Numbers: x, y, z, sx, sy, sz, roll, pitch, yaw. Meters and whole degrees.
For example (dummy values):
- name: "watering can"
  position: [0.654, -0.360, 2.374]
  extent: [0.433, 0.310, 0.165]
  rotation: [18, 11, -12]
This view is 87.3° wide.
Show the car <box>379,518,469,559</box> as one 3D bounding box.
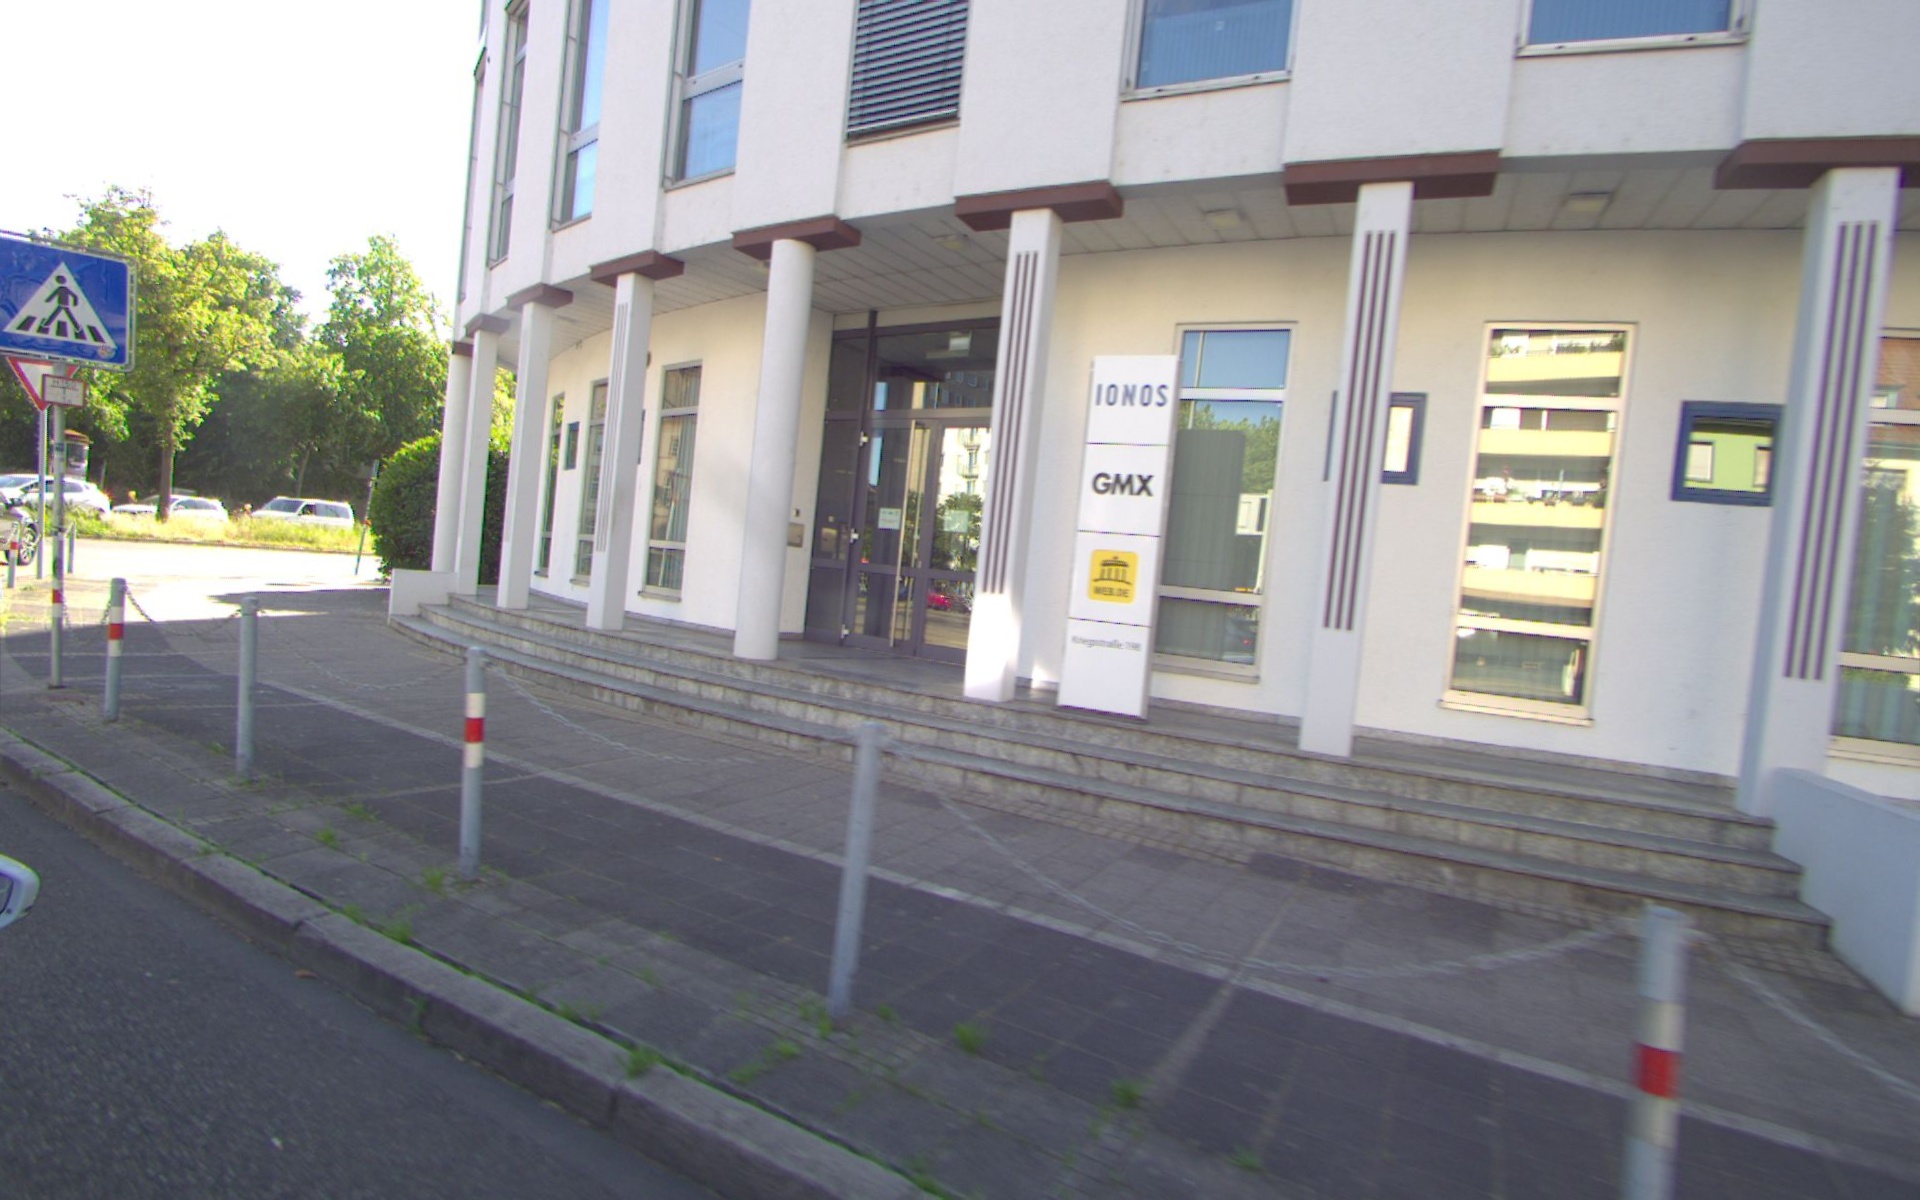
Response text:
- name: "car"
  position: [-29.013, -3.282, 54.643]
  extent: [1.767, 1.765, 5.031]
  rotation: [6, 1, 4]

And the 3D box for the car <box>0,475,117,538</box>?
- name: "car"
  position: [-27.544, -2.806, 29.536]
  extent: [1.767, 1.538, 4.204]
  rotation: [6, 1, 4]

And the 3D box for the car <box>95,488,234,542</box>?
- name: "car"
  position: [-30.120, -3.183, 38.252]
  extent: [1.767, 1.538, 4.079]
  rotation: [6, 1, 4]

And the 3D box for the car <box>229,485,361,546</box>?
- name: "car"
  position: [-29.778, -3.724, 45.269]
  extent: [2.198, 2.054, 5.017]
  rotation: [6, 1, 4]

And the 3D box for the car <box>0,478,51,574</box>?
- name: "car"
  position: [-16.900, -1.336, 16.586]
  extent: [1.880, 1.538, 3.967]
  rotation: [7, 1, -30]
